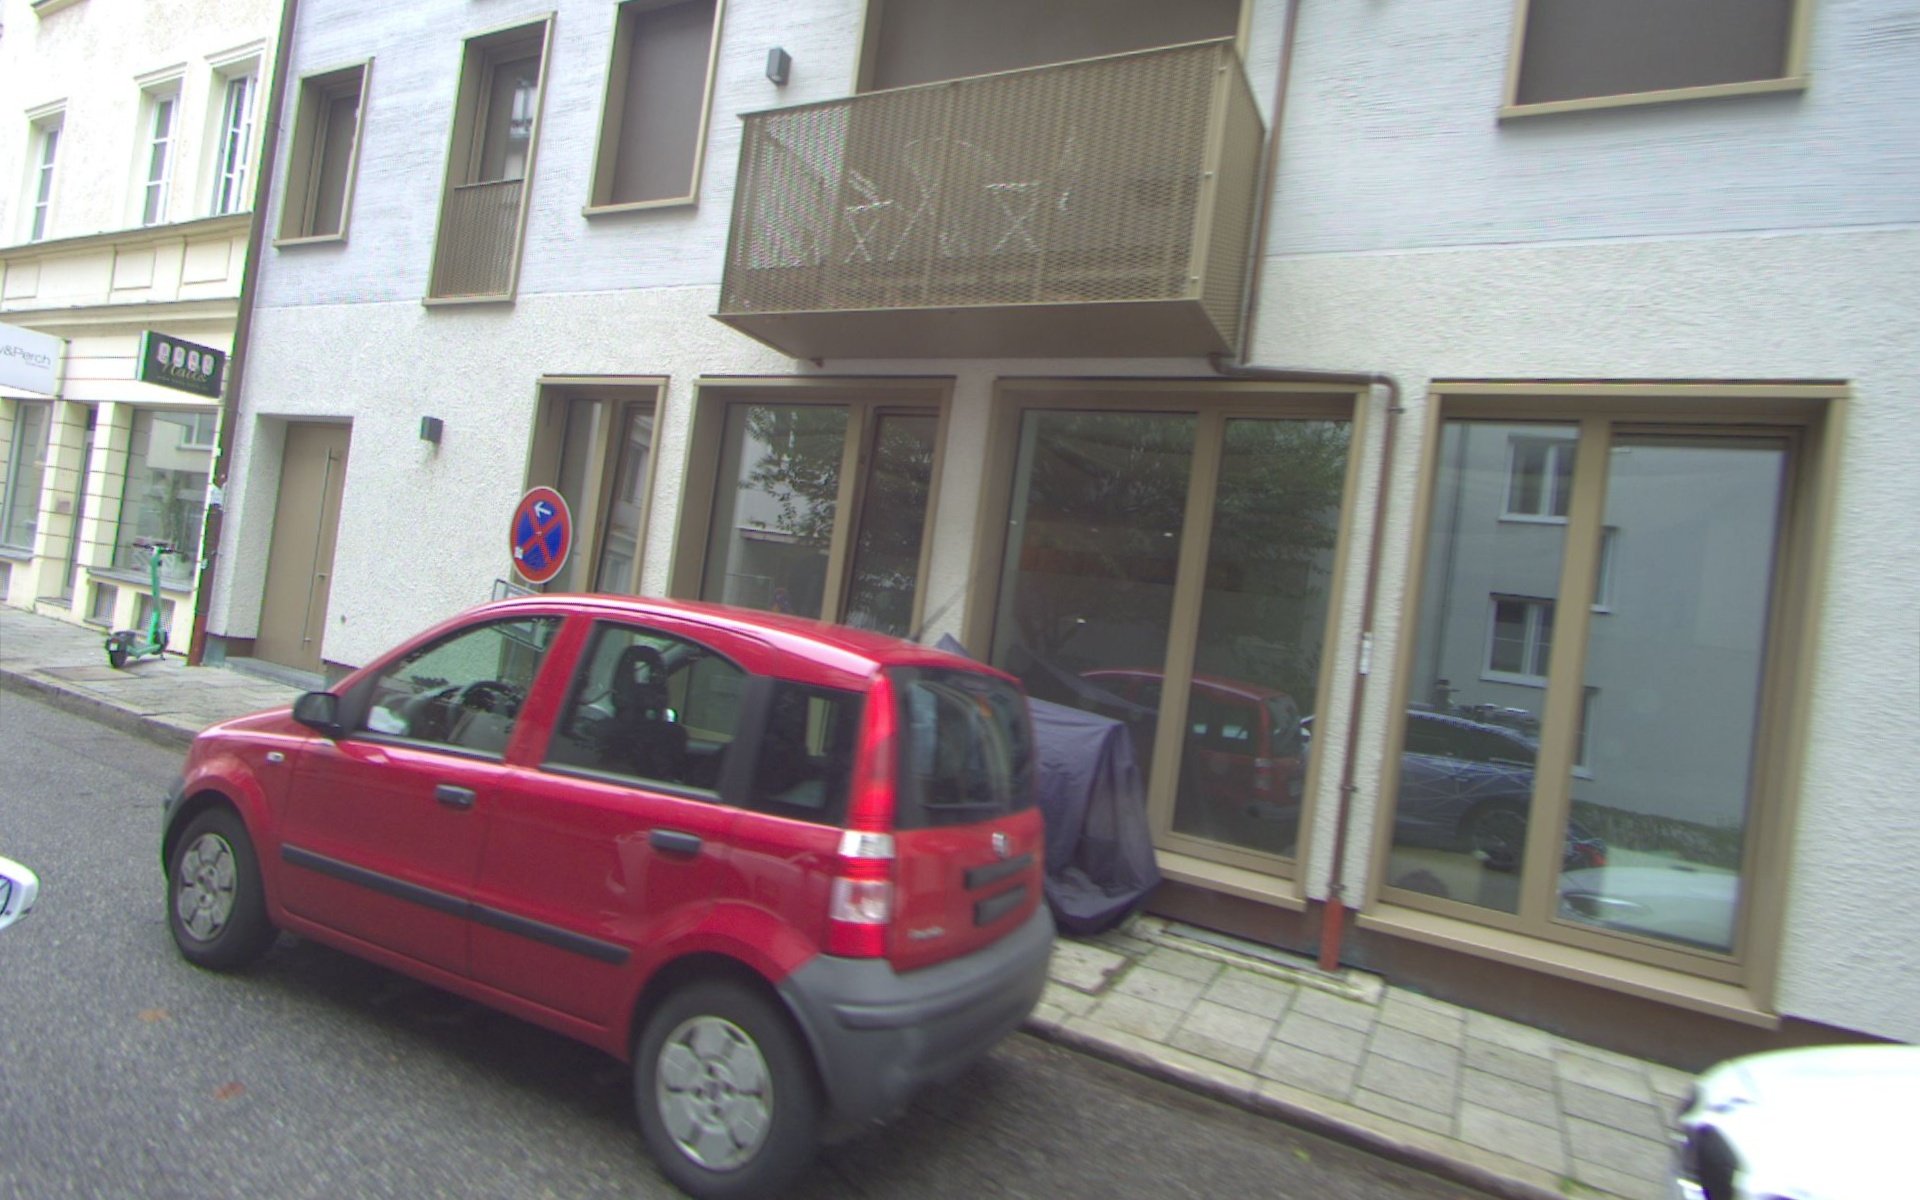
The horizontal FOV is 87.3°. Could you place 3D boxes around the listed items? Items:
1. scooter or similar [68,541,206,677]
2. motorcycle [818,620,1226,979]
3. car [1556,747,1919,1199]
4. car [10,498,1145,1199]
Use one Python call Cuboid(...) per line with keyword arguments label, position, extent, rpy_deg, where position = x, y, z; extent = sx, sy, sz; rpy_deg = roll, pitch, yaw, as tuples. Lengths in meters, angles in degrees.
Cuboid(label="scooter or similar", position=(-8.069, 0.050, 9.925), extent=(0.488, 1.199, 1.599), rpy_deg=(6, 1, -21))
Cuboid(label="motorcycle", position=(0.305, 0.946, 5.425), extent=(1.899, 1.442, 0.806), rpy_deg=(7, 2, 29))
Cuboid(label="car", position=(3.400, 1.316, 1.343), extent=(4.306, 1.476, 1.774), rpy_deg=(7, -4, 30))
Cuboid(label="car", position=(-1.583, 0.667, 3.843), extent=(3.998, 1.540, 1.778), rpy_deg=(7, -4, 30))
